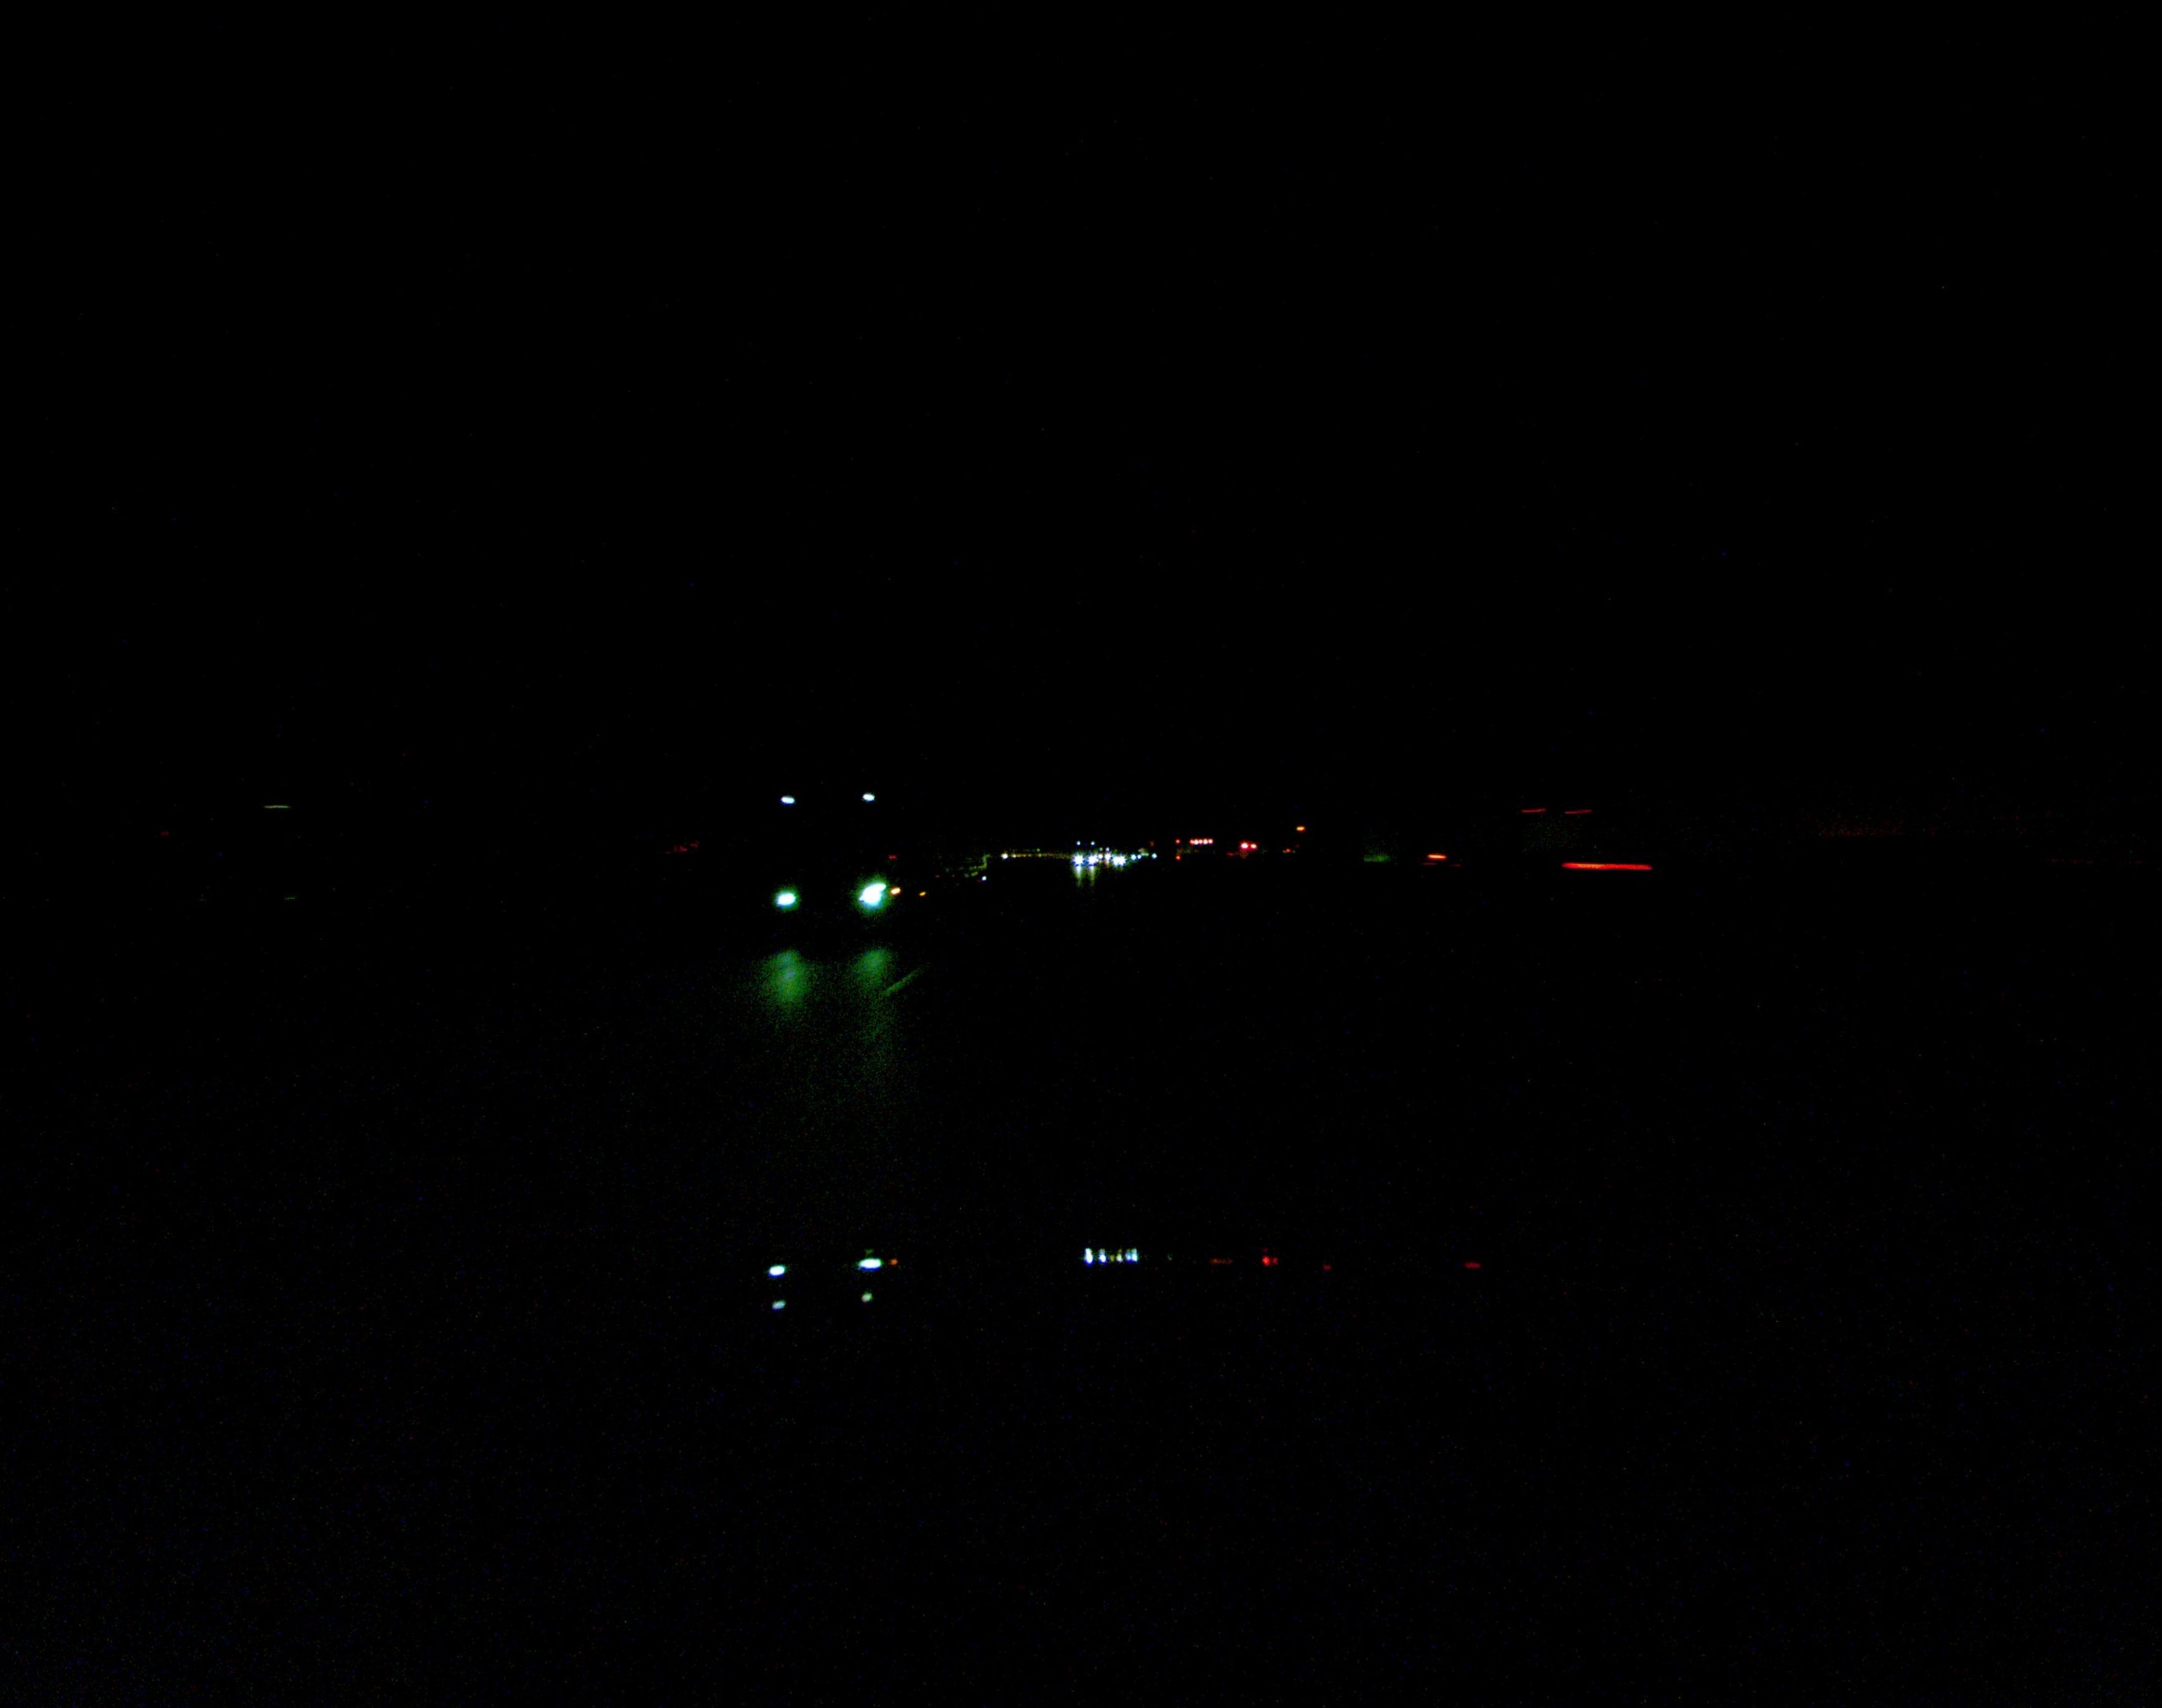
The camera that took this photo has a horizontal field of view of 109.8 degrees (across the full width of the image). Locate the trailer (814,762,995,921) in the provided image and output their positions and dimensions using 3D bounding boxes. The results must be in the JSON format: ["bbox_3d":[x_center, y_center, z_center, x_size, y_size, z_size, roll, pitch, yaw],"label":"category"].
[{"bbox_3d":[-5.274,-0.342,26.128,2.861,4.043,13.205,1,0,1],"label":"trailer"}]

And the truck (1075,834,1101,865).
[{"bbox_3d":[1.162,-0.859,113.781,3.491,4.111,18.704,-1,2,1],"label":"truck"}]

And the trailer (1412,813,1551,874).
[{"bbox_3d":[23.701,-0.623,45.891,2.400,3.192,11.178,-1,1,0],"label":"trailer"}]

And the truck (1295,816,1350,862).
[{"bbox_3d":[19.346,-1.122,61.342,2.409,3.493,6.724,-1,0,1],"label":"truck"}]

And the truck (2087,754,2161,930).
[{"bbox_3d":[19.502,-0.154,10.024,2.562,2.969,7.451,-1,1,0],"label":"truck"}]

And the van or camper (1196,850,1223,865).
[{"bbox_3d":[12.043,0.331,71.517,1.824,1.346,5.352,0,0,1],"label":"van or camper"}]

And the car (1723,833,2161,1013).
[{"bbox_3d":[11.833,0.764,10.786,1.999,2.002,3.999,-3,1,-1],"label":"car"}]

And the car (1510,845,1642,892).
[{"bbox_3d":[15.404,0.415,23.896,1.574,1.346,4.000,0,0,0],"label":"car"}]

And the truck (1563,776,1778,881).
[{"bbox_3d":[22.936,-0.903,30.222,2.890,3.654,7.263,0,0,0],"label":"truck"}]

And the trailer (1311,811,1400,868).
[{"bbox_3d":[19.344,-0.986,54.370,2.400,3.606,11.179,-1,1,1],"label":"trailer"}]

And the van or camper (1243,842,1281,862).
[{"bbox_3d":[19.799,-0.217,83.539,2.193,2.002,7.640,0,0,-1],"label":"van or camper"}]

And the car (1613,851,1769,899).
[{"bbox_3d":[18.894,0.594,23.803,1.719,1.346,4.000,0,0,1],"label":"car"}]

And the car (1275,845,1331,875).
[{"bbox_3d":[10.565,0.251,36.416,1.574,1.346,4.000,0,0,1],"label":"car"}]

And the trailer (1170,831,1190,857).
[{"bbox_3d":[17.163,-1.800,130.867,3.096,4.065,12.454,-2,1,8],"label":"trailer"}]

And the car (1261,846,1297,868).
[{"bbox_3d":[12.710,0.185,48.987,1.574,1.346,4.001,0,0,5],"label":"car"}]

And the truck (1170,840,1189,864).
[{"bbox_3d":[17.976,-0.452,138.396,3.114,4.074,7.078,-2,1,8],"label":"truck"}]

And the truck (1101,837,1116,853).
[{"bbox_3d":[7.773,-2.537,216.213,2.872,3.820,8.052,-5,5,10],"label":"truck"}]

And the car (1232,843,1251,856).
[{"bbox_3d":[16.725,-0.439,79.293,1.573,1.346,4.002,0,0,6],"label":"car"}]

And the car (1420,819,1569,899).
[{"bbox_3d":[11.703,0.092,21.853,1.999,2.002,3.999,-3,1,-1],"label":"car"}]

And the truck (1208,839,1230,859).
[{"bbox_3d":[21.430,-0.751,118.447,2.563,2.942,8.174,0,0,4],"label":"truck"}]

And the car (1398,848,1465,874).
[{"bbox_3d":[19.360,0.365,42.200,1.574,1.346,4.641,0,0,-1],"label":"car"}]

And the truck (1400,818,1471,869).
[{"bbox_3d":[23.675,-0.680,50.953,2.400,3.192,4.906,-1,1,0],"label":"truck"}]

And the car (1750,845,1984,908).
[{"bbox_3d":[18.738,0.477,18.413,1.574,1.346,4.000,0,0,1],"label":"car"}]

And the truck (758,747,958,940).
[{"bbox_3d":[-5.368,-0.234,19.923,2.869,4.053,7.510,1,0,1],"label":"truck"}]

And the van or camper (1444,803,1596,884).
[{"bbox_3d":[19.400,-0.444,34.189,2.439,3.253,7.392,0,0,-1],"label":"van or camper"}]

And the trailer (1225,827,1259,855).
[{"bbox_3d":[19.749,-1.574,93.498,2.612,3.158,9.004,-2,1,3],"label":"trailer"}]

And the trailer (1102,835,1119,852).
[{"bbox_3d":[8.693,-3.112,222.125,2.879,3.911,12.885,-4,5,11],"label":"trailer"}]

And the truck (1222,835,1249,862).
[{"bbox_3d":[20.028,-0.767,98.756,2.649,3.201,5.795,-2,1,3],"label":"truck"}]

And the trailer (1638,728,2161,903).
[{"bbox_3d":[23.029,-0.876,22.742,2.890,3.654,13.130,-3,0,0],"label":"trailer"}]

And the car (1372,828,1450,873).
[{"bbox_3d":[16.070,-0.205,37.247,1.999,2.002,3.999,-3,1,-1],"label":"car"}]
